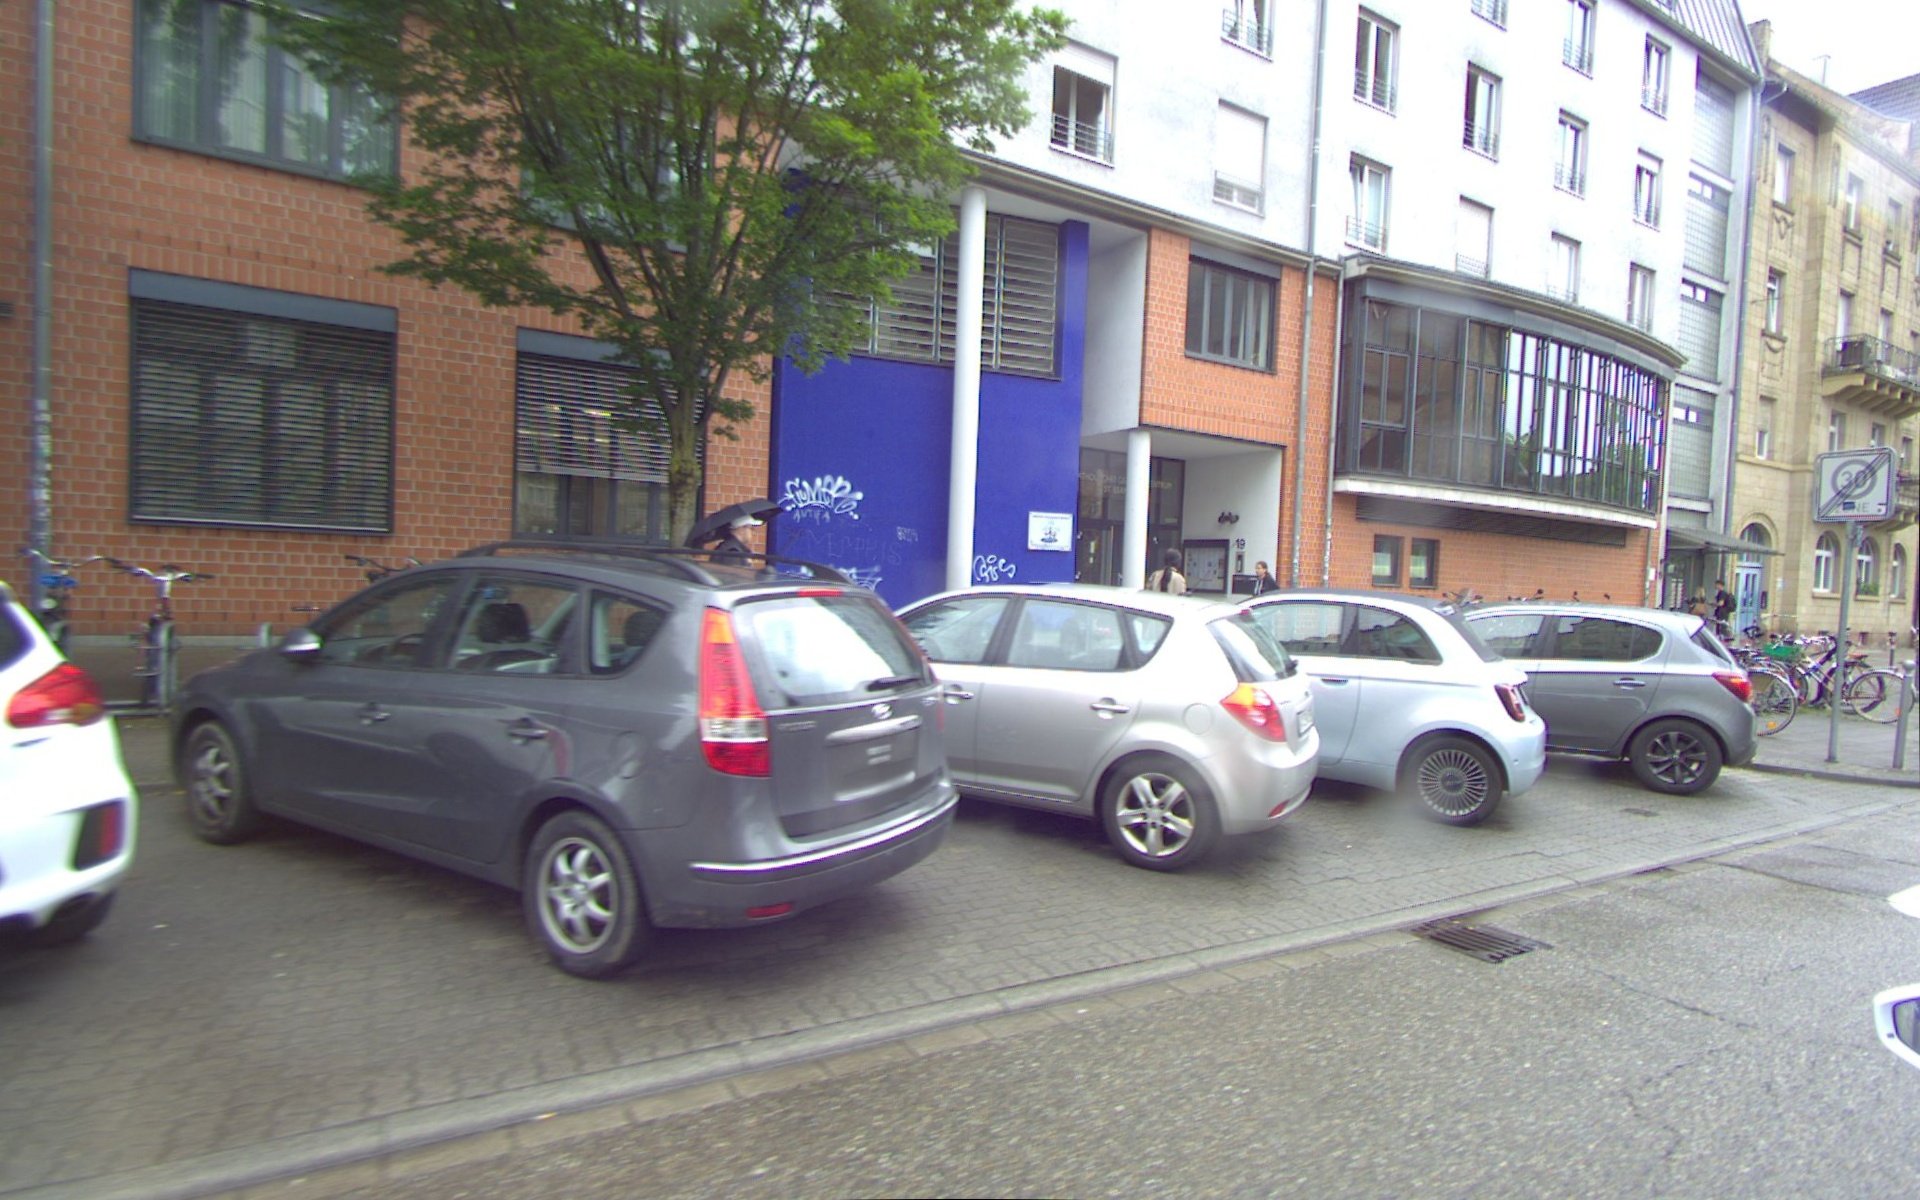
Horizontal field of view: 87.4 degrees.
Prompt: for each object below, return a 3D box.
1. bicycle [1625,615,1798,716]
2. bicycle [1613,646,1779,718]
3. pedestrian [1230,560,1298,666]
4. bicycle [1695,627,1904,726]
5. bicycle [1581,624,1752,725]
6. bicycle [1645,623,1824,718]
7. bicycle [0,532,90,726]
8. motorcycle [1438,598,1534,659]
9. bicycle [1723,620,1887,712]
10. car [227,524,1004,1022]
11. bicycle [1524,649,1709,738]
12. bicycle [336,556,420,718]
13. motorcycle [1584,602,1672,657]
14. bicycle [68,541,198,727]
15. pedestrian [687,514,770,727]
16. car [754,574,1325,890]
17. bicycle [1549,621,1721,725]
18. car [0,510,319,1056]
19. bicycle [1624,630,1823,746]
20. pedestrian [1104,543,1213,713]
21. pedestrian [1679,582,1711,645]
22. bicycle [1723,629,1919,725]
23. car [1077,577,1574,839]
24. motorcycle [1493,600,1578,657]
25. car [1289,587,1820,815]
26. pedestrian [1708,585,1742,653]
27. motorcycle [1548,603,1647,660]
[{"bbox_3d":[10.345,0.867,13.899,0.560,1.183,1.795,2,3,-26],"label":"bicycle"},{"bbox_3d":[9.870,1.073,13.545,0.500,0.741,1.714,1,3,-30],"label":"bicycle"},{"bbox_3d":[4.696,0.198,15.562,0.599,1.572,0.707,1,4,-24],"label":"pedestrian"},{"bbox_3d":[11.651,1.019,14.040,0.587,1.112,2.122,1,3,-30],"label":"bicycle"},{"bbox_3d":[9.206,0.937,13.156,0.502,1.112,1.709,1,3,-38],"label":"bicycle"},{"bbox_3d":[10.880,0.952,14.199,0.500,1.112,1.904,1,3,-30],"label":"bicycle"},{"bbox_3d":[-6.967,0.155,7.419,0.548,1.168,1.884,1,6,-33],"label":"bicycle"},{"bbox_3d":[11.188,0.612,21.357,2.091,1.190,0.749,2,4,-31],"label":"motorcycle"},{"bbox_3d":[13.287,1.014,15.854,1.778,1.229,0.631,5,2,24],"label":"bicycle"},{"bbox_3d":[-1.678,0.511,4.806,3.325,1.562,1.678,4,2,29],"label":"car"},{"bbox_3d":[7.526,1.048,11.605,0.500,0.780,1.714,1,3,-29],"label":"bicycle"},{"bbox_3d":[-5.270,0.275,9.046,0.548,1.168,1.884,1,6,-33],"label":"bicycle"},{"bbox_3d":[16.295,0.713,24.511,1.748,1.190,0.572,3,3,-8],"label":"motorcycle"},{"bbox_3d":[-6.392,0.196,7.830,0.548,1.168,1.884,1,6,-33],"label":"bicycle"},{"bbox_3d":[-1.966,0.167,8.508,0.428,1.730,0.608,4,0,-30],"label":"pedestrian"},{"bbox_3d":[0.529,0.659,6.634,3.323,1.477,1.679,4,2,26],"label":"car"},{"bbox_3d":[8.596,0.894,12.863,0.501,1.112,1.710,1,3,-35],"label":"bicycle"},{"bbox_3d":[-4.948,0.358,3.678,4.441,1.559,2.336,7,3,25],"label":"car"},{"bbox_3d":[8.787,0.971,11.634,0.501,1.112,1.710,1,3,-35],"label":"bicycle"},{"bbox_3d":[2.165,0.285,11.039,0.746,1.776,0.823,1,4,-24],"label":"pedestrian"},{"bbox_3d":[20.171,0.365,27.576,0.651,1.697,0.794,2,1,35],"label":"pedestrian"},{"bbox_3d":[12.365,1.061,14.434,0.587,1.112,2.106,1,3,-30],"label":"bicycle"},{"bbox_3d":[2.827,0.676,7.967,3.325,1.527,1.678,4,2,29],"label":"car"},{"bbox_3d":[12.944,0.639,22.570,2.094,1.190,0.748,1,4,-35],"label":"motorcycle"},{"bbox_3d":[5.225,0.749,9.315,3.762,1.527,1.985,4,2,29],"label":"car"},{"bbox_3d":[20.703,0.507,27.188,0.651,1.780,0.794,2,1,35],"label":"pedestrian"},{"bbox_3d":[14.868,0.747,23.431,2.083,1.190,0.752,3,3,-19],"label":"motorcycle"}]
